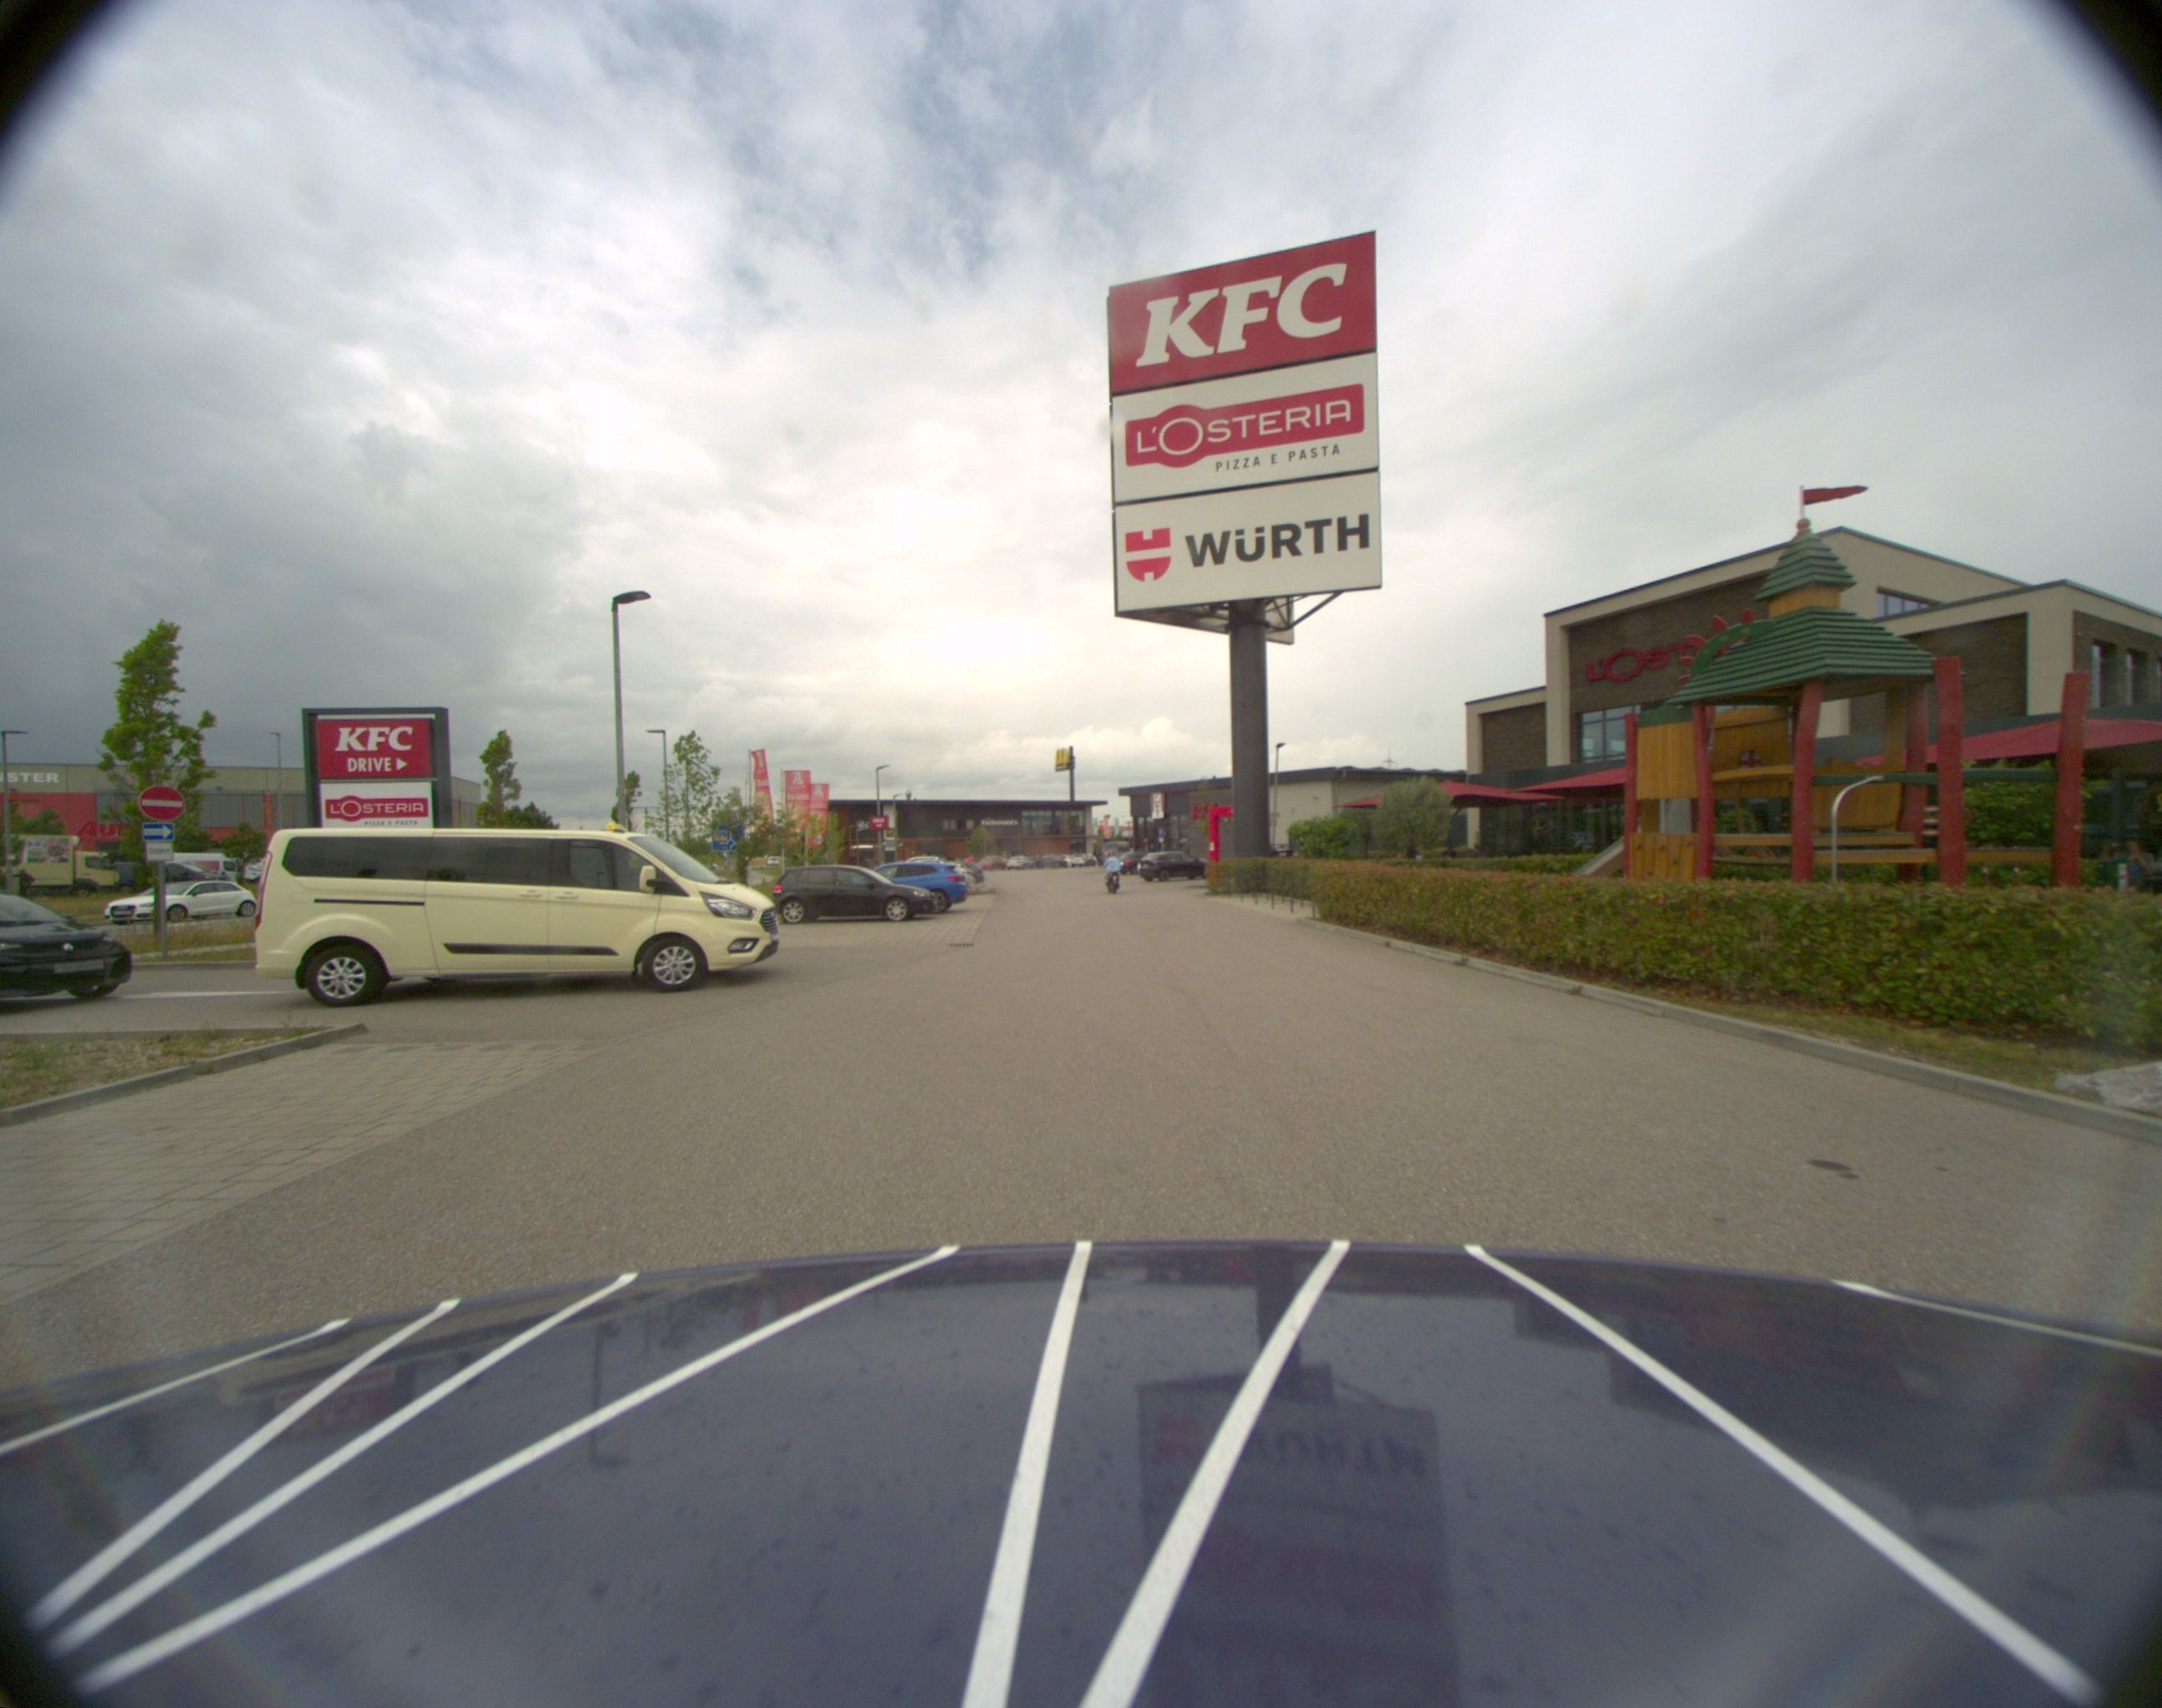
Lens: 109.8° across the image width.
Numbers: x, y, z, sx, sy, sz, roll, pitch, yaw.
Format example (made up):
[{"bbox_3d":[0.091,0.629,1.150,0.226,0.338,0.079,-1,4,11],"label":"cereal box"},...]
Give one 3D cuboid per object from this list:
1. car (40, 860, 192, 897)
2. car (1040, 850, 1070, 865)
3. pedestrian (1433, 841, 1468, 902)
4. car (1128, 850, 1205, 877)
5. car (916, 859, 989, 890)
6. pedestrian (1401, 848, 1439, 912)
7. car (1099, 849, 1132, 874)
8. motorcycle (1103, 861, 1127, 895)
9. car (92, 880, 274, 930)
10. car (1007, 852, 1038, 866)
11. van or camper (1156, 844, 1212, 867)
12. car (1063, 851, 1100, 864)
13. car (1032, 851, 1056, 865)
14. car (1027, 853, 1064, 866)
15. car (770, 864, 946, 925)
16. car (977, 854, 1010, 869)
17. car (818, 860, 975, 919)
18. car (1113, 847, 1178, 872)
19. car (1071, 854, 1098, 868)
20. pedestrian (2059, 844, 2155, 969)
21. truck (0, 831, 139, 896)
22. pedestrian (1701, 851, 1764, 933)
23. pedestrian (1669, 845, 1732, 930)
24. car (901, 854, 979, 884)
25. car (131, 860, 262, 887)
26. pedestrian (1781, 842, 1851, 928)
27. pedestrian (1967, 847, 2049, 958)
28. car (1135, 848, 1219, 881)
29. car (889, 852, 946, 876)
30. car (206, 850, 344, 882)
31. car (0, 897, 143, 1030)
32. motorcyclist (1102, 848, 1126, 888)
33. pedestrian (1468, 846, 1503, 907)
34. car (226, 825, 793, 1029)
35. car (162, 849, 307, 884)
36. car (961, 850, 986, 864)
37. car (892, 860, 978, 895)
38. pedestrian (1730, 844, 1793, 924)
[{"bbox_3d":[-55.434,1.355,43.787,5.073,1.873,2.075,-2,0,-17],"label":"car"},{"bbox_3d":[-2.724,0.324,80.364,1.684,1.454,4.413,-2,0,18],"label":"car"},{"bbox_3d":[10.819,0.499,22.257,0.744,1.738,0.702,-1,1,-44],"label":"pedestrian"},{"bbox_3d":[5.235,0.546,46.353,4.184,1.477,1.996,-2,0,-24],"label":"car"},{"bbox_3d":[-7.112,1.101,42.029,3.809,1.404,1.737,-3,1,-12],"label":"car"},{"bbox_3d":[9.417,0.714,21.127,0.703,1.738,0.742,0,1,-6],"label":"pedestrian"},{"bbox_3d":[3.852,0.745,82.860,2.069,2.538,7.021,-2,0,15],"label":"car"},{"bbox_3d":[1.344,0.935,30.295,0.794,1.201,1.921,-4,1,0],"label":"motorcycle"},{"bbox_3d":[-31.683,1.746,27.023,1.754,1.482,4.129,-2,-1,-4],"label":"car"},{"bbox_3d":[-6.020,0.521,78.754,1.750,1.403,4.465,-2,0,15],"label":"car"},{"bbox_3d":[13.110,0.183,96.742,6.558,2.684,2.176,-3,-1,23],"label":"van or camper"},{"bbox_3d":[0.031,0.440,91.315,4.103,1.458,1.783,-2,-2,15],"label":"car"},{"bbox_3d":[-5.014,0.505,103.358,1.894,1.653,4.262,0,3,16],"label":"car"},{"bbox_3d":[-4.183,0.694,89.620,3.991,1.501,1.772,0,0,20],"label":"car"},{"bbox_3d":[-5.733,1.020,19.930,4.072,1.451,1.776,-1,0,-2],"label":"car"},{"bbox_3d":[-8.918,0.776,77.647,1.684,1.455,4.006,-2,0,19],"label":"car"},{"bbox_3d":[-5.358,1.013,22.565,4.214,1.535,1.864,-2,1,-4],"label":"car"},{"bbox_3d":[4.369,0.374,51.624,3.943,1.478,1.755,-4,1,-24],"label":"car"},{"bbox_3d":[0.387,0.752,81.885,1.684,1.443,4.006,-2,0,19],"label":"car"},{"bbox_3d":[14.790,0.723,10.960,0.744,1.738,0.702,0,1,-28],"label":"pedestrian"},{"bbox_3d":[-53.822,0.455,37.656,3.023,3.177,8.442,0,0,15],"label":"truck"},{"bbox_3d":[14.037,0.806,16.391,0.742,1.738,0.704,0,1,-1],"label":"pedestrian"},{"bbox_3d":[12.917,0.683,15.859,0.742,1.738,0.704,0,1,-1],"label":"pedestrian"},{"bbox_3d":[-8.723,0.915,46.980,4.547,1.532,1.923,-3,1,-14],"label":"car"},{"bbox_3d":[-56.345,1.218,48.541,5.076,1.629,2.074,0,0,-23],"label":"car"},{"bbox_3d":[15.084,0.625,15.614,0.742,1.738,0.704,0,1,-1],"label":"pedestrian"},{"bbox_3d":[15.128,0.758,12.406,0.744,1.738,0.702,0,1,-28],"label":"pedestrian"},{"bbox_3d":[5.180,0.526,40.770,4.128,1.519,1.738,-3,2,-24],"label":"car"},{"bbox_3d":[-13.729,0.854,63.690,4.376,1.703,1.989,-4,1,-21],"label":"car"},{"bbox_3d":[-58.973,0.848,55.819,6.514,2.254,2.340,0,0,-25],"label":"car"},{"bbox_3d":[-12.971,1.213,8.460,3.161,1.329,1.466,-1,0,0],"label":"car"},{"bbox_3d":[1.313,0.536,30.190,0.830,1.480,0.941,-4,2,0],"label":"motorcyclist"},{"bbox_3d":[11.882,0.651,22.309,0.744,1.738,0.702,-1,1,-44],"label":"pedestrian"},{"bbox_3d":[-6.554,0.761,9.416,5.231,2.074,1.998,-1,0,-10],"label":"car"},{"bbox_3d":[-57.058,0.813,51.398,6.066,2.201,2.411,0,0,-23],"label":"car"},{"bbox_3d":[-14.081,0.443,99.437,1.997,1.739,4.004,0,-1,11],"label":"car"},{"bbox_3d":[-7.048,1.103,37.019,3.939,1.404,1.838,-3,1,-9],"label":"car"},{"bbox_3d":[14.996,0.650,16.766,0.742,1.738,0.704,0,1,-1],"label":"pedestrian"}]
